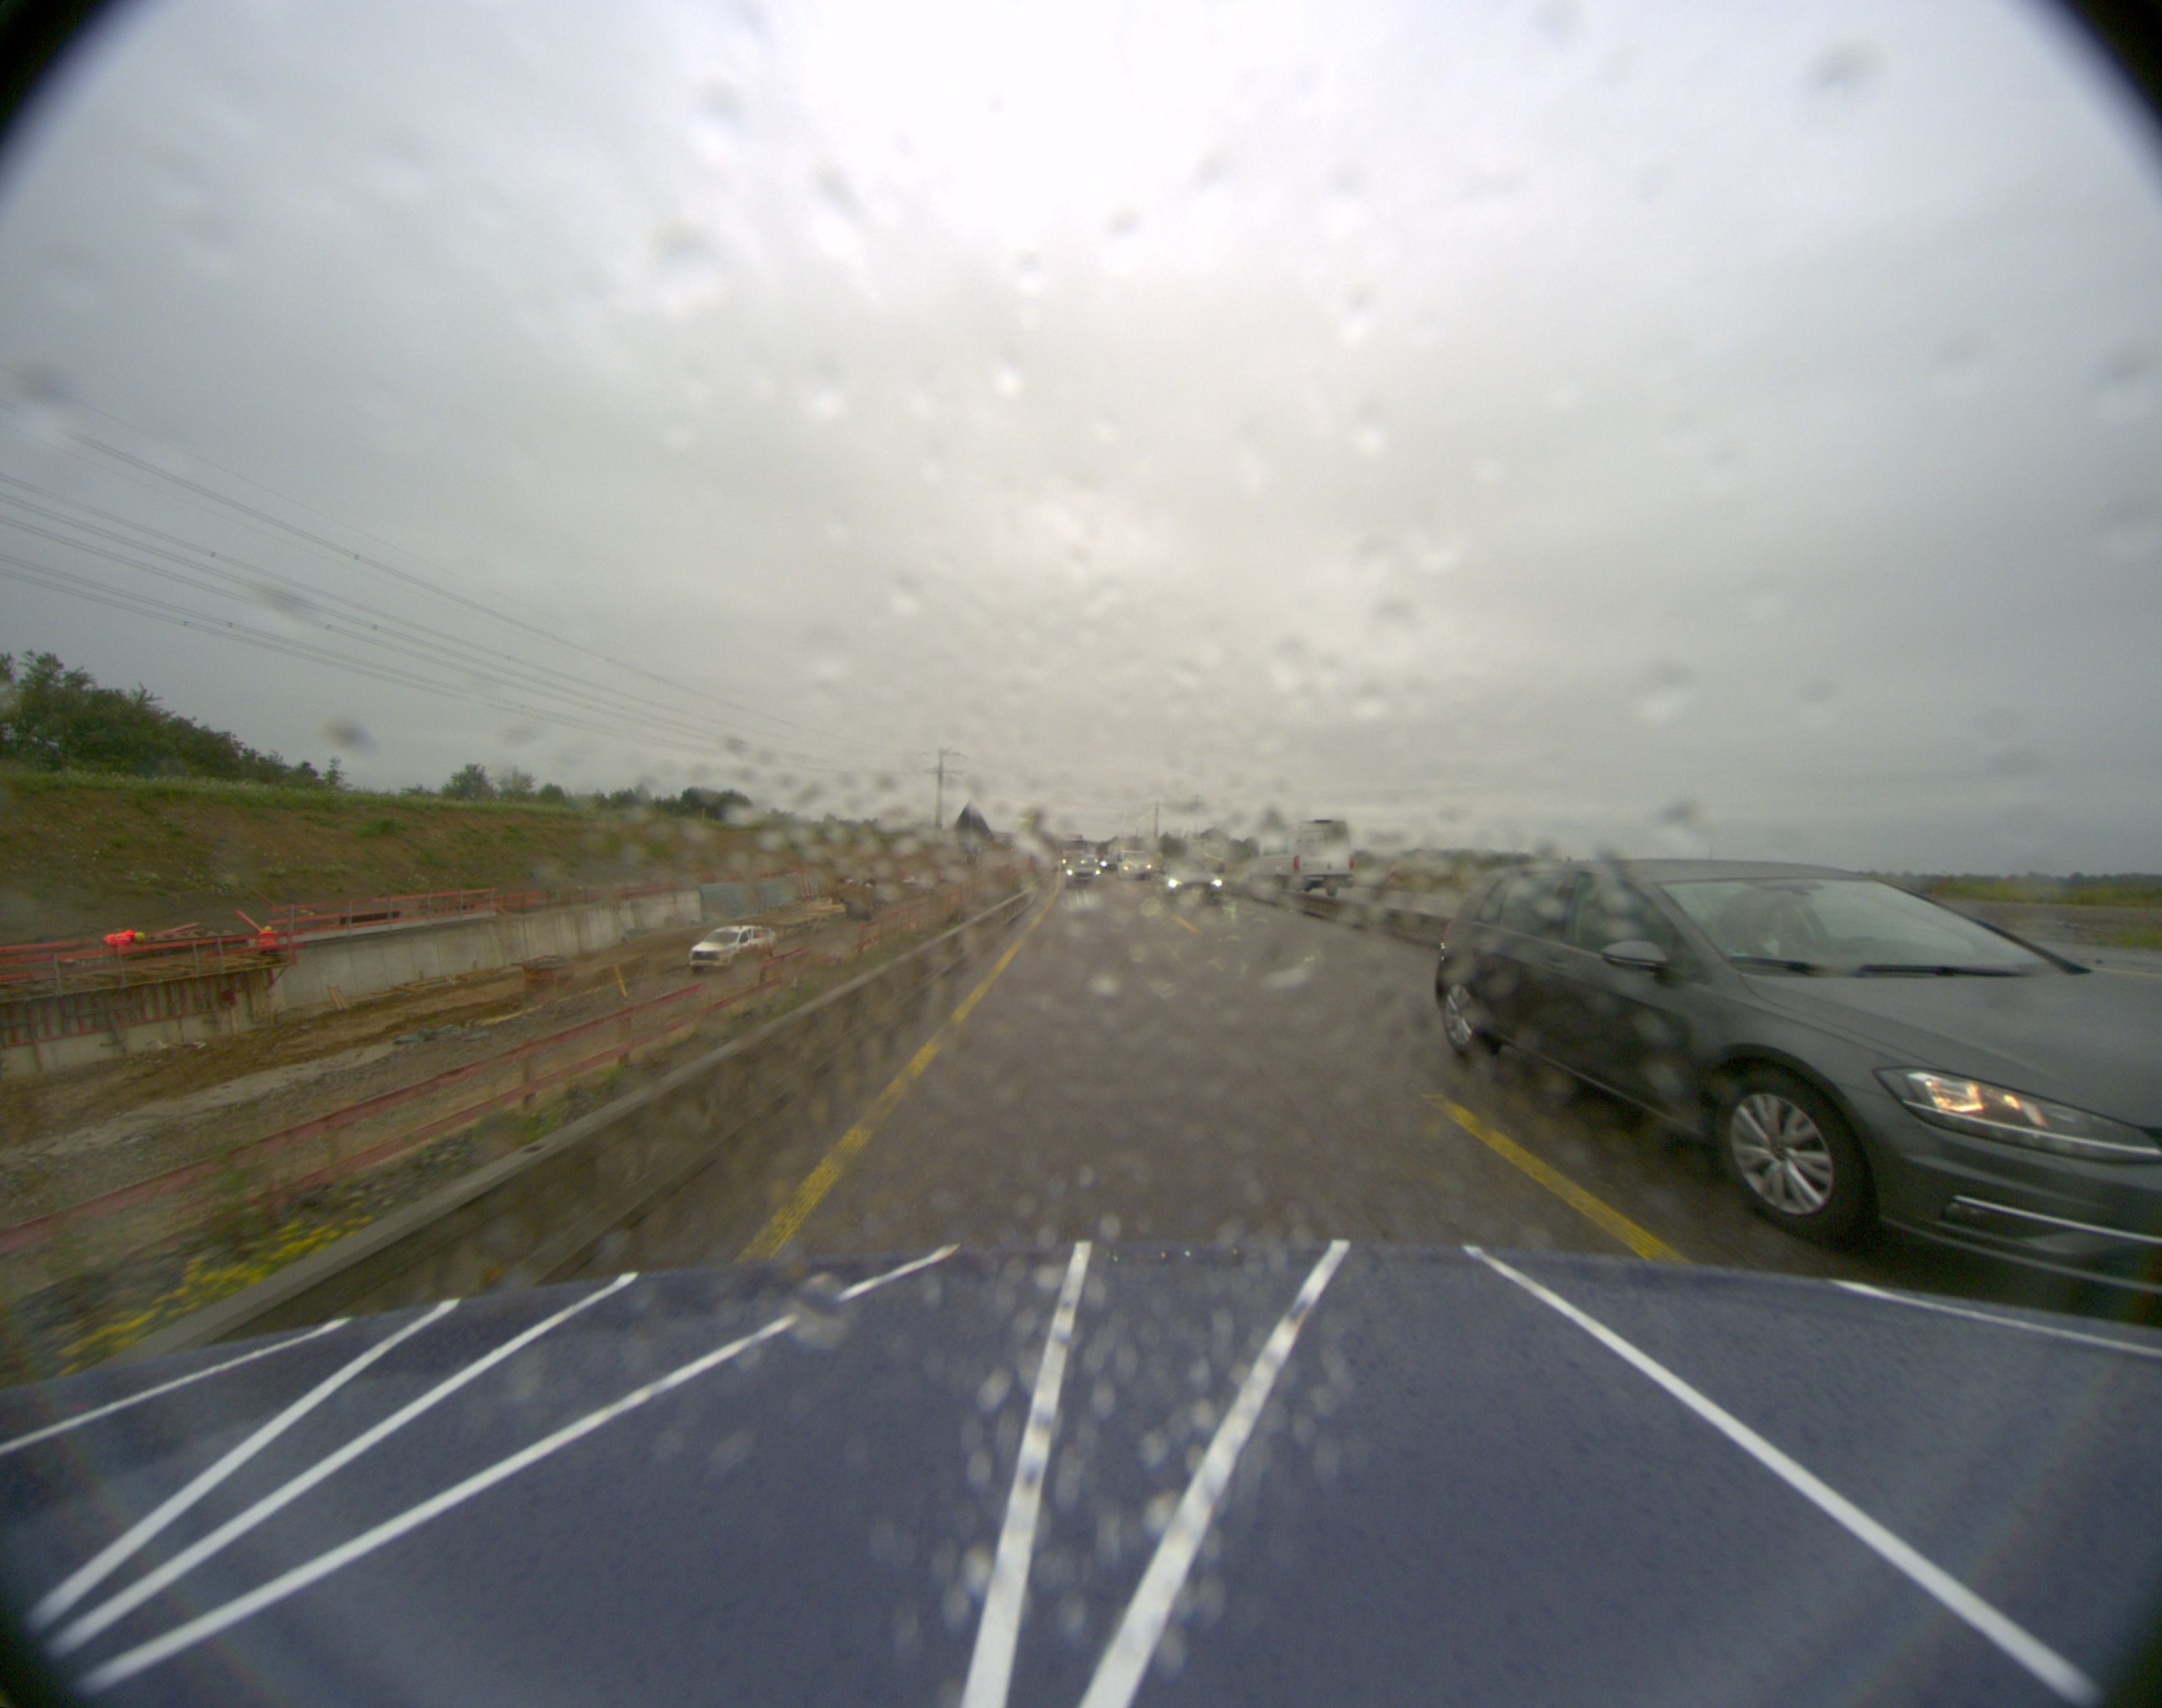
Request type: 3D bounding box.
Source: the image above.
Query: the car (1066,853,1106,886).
[{"bbox_3d":[0.296,0.755,39.213,1.799,1.524,4.308,-2,0,3],"label":"car"}]

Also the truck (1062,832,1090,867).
[{"bbox_3d":[-0.449,-0.523,85.691,2.837,3.617,9.119,-2,1,1],"label":"truck"}]

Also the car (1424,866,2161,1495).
[{"bbox_3d":[3.478,0.854,3.915,1.653,1.414,4.080,-1,1,2],"label":"car"}]

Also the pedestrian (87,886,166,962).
[{"bbox_3d":[-30.573,2.225,24.355,0.917,2.233,1.005,-6,2,-2],"label":"pedestrian"}]

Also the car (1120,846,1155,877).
[{"bbox_3d":[3.675,0.459,49.849,2.160,1.848,5.180,-2,1,4],"label":"car"}]

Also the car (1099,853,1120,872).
[{"bbox_3d":[2.596,0.756,70.171,1.799,1.521,4.067,-2,1,1],"label":"car"}]

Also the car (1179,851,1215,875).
[{"bbox_3d":[7.850,0.585,51.917,1.751,1.486,4.749,-1,0,0],"label":"car"}]

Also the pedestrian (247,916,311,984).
[{"bbox_3d":[-28.843,3.443,27.349,0.917,2.219,1.006,-6,2,5],"label":"pedestrian"}]

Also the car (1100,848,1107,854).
[{"bbox_3d":[6.898,-0.896,229.870,1.842,1.772,3.999,-8,1,0],"label":"car"}]

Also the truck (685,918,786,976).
[{"bbox_3d":[-15.575,4.127,34.674,1.766,1.860,5.786,0,1,2],"label":"truck"}]

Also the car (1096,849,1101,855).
[{"bbox_3d":[6.006,-0.737,262.151,1.730,1.749,4.089,-1,1,-2],"label":"car"}]

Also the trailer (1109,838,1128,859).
[{"bbox_3d":[7.546,-1.084,154.899,2.794,4.176,13.671,-1,0,-2],"label":"trailer"}]

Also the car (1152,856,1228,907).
[{"bbox_3d":[3.458,0.840,24.844,1.800,1.389,4.268,-2,1,0],"label":"car"}]

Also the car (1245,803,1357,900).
[{"bbox_3d":[7.820,-0.097,27.902,1.998,3.028,7.171,-2,0,1],"label":"car"}]

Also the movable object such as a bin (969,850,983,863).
[{"bbox_3d":[-22.128,0.496,160.113,2.252,2.703,3.999,-2,1,-2],"label":"movable object such as a bin"}]

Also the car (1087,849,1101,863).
[{"bbox_3d":[1.831,0.204,107.261,1.799,1.850,4.286,-2,1,0],"label":"car"}]

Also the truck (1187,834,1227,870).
[{"bbox_3d":[10.648,-0.138,64.727,2.364,2.877,6.548,0,0,0],"label":"truck"}]
